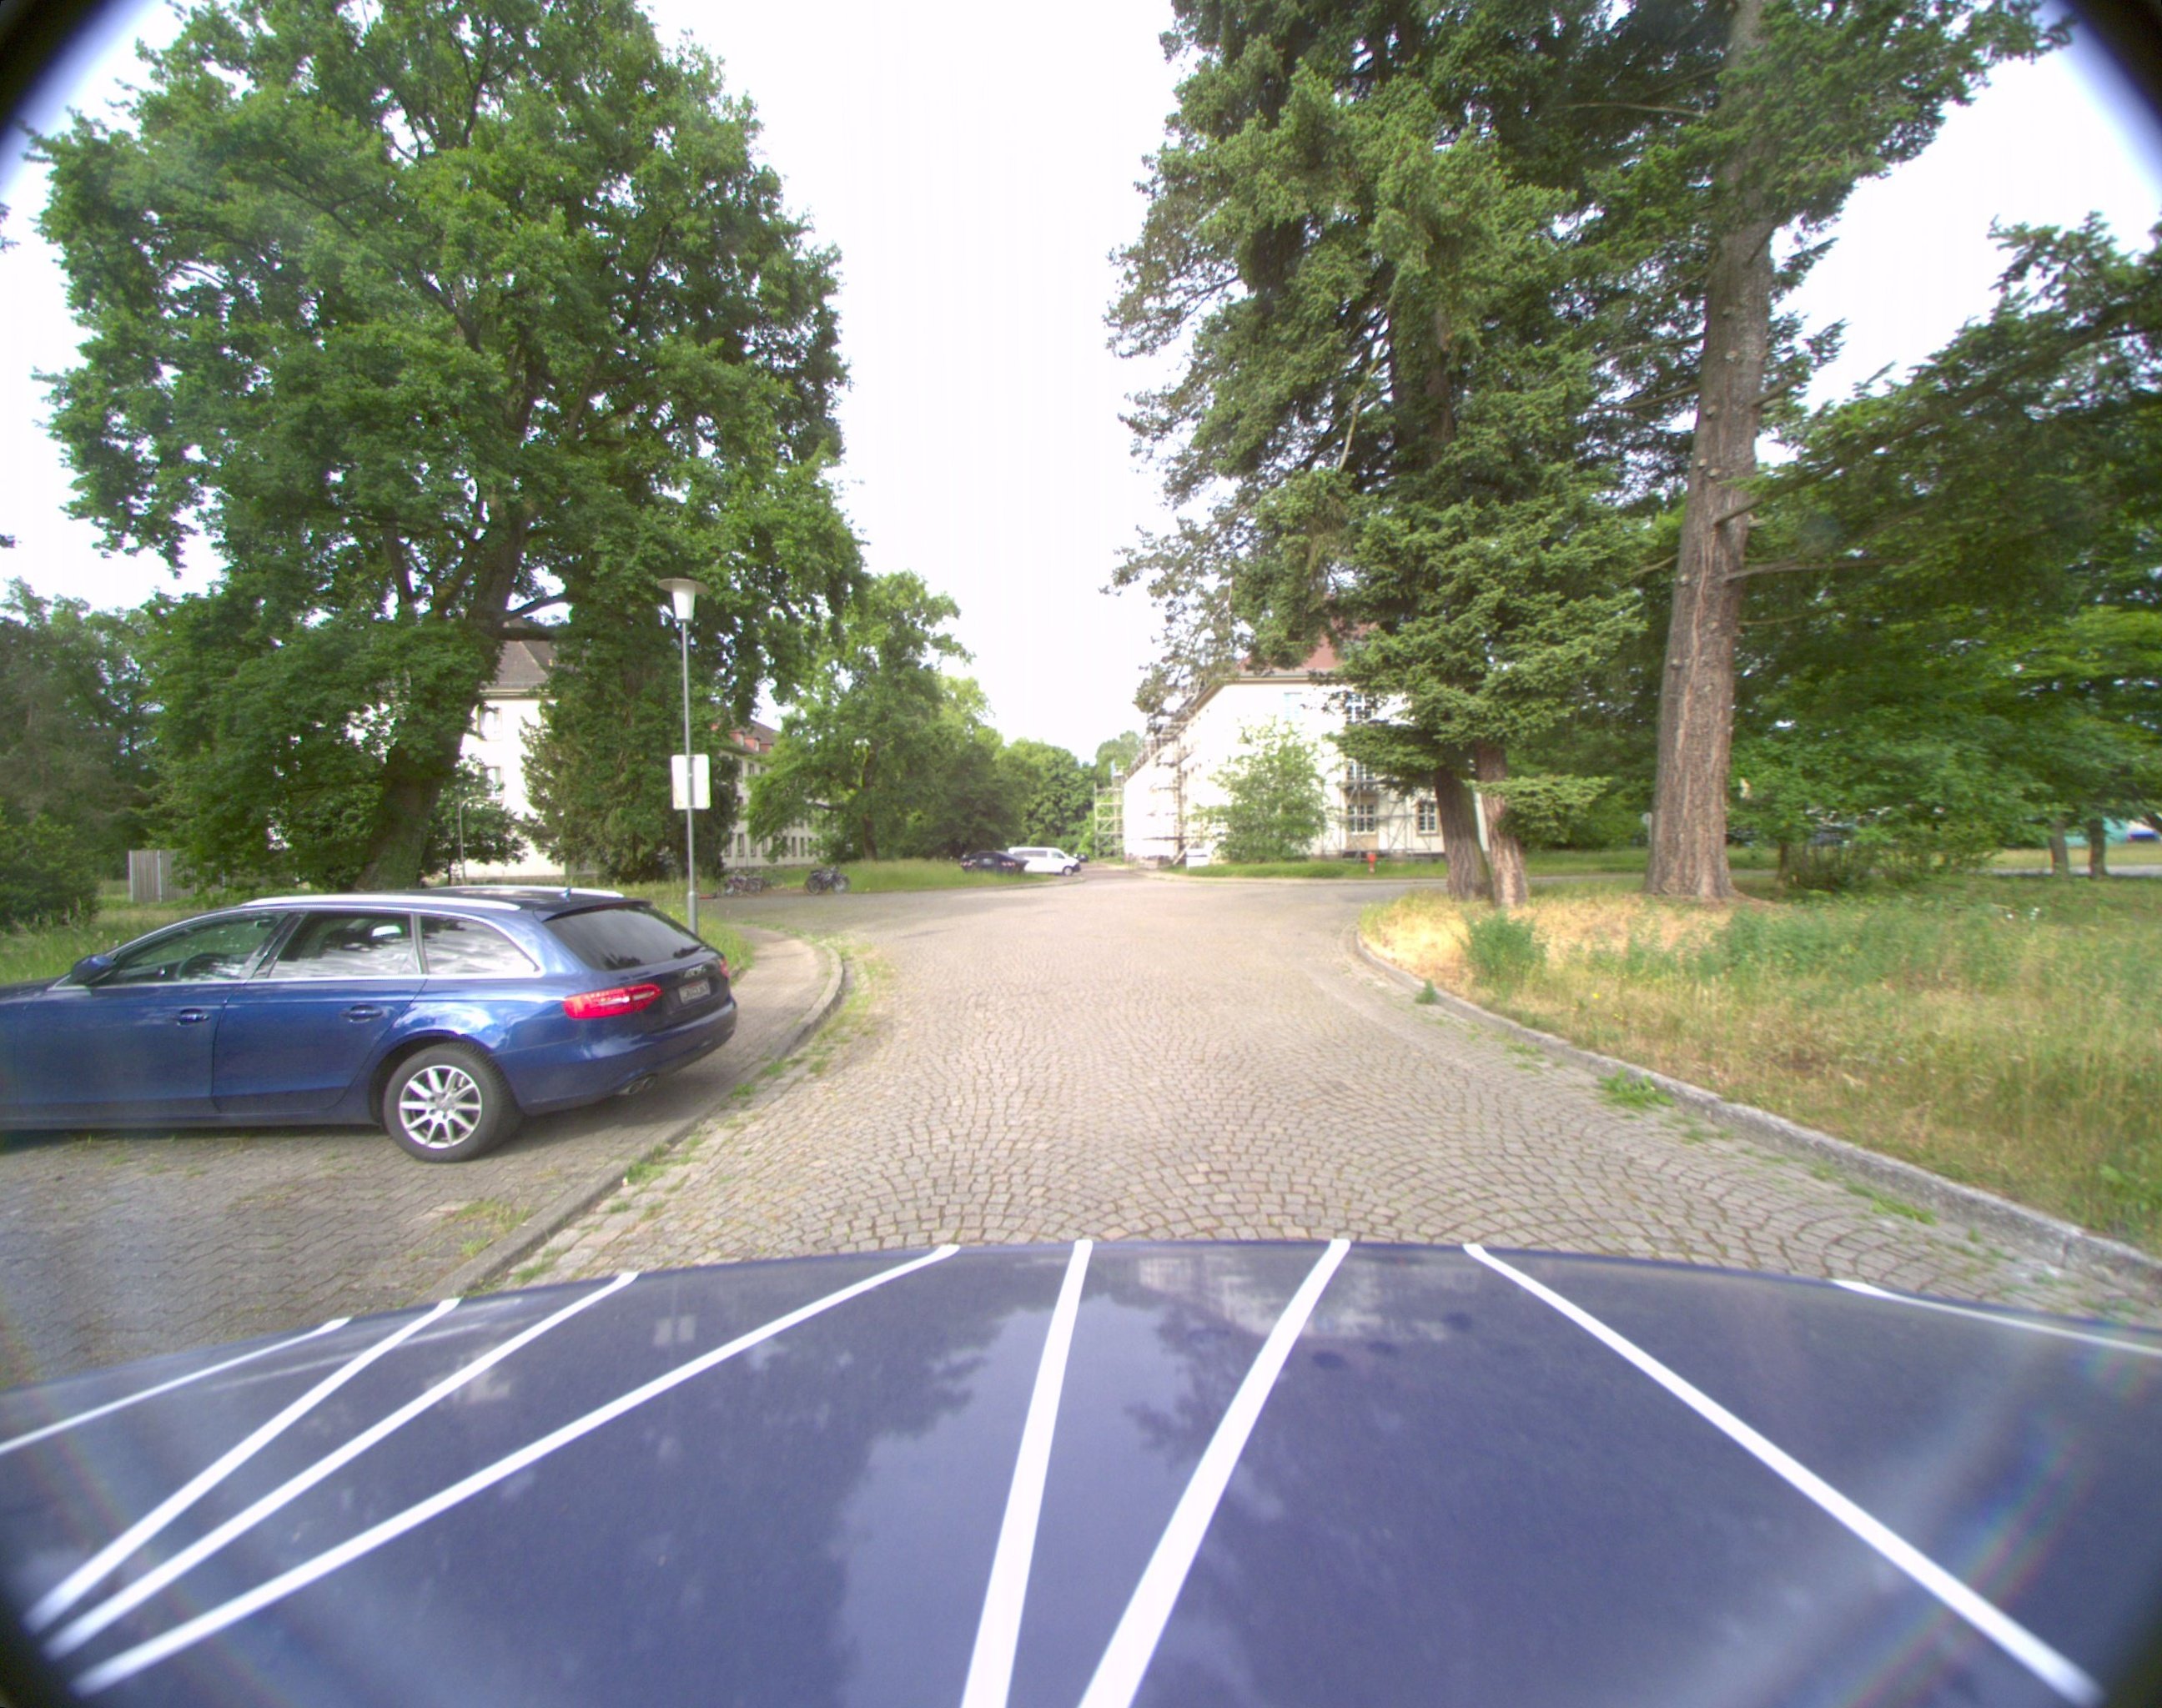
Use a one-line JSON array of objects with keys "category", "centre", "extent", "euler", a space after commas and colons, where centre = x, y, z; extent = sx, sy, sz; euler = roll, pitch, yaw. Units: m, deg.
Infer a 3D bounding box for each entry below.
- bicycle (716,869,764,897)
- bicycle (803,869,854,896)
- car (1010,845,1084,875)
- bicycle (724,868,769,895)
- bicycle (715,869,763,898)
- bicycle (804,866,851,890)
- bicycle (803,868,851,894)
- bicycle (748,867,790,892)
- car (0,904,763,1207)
[{"category": "bicycle", "centre": [-15.131, 1.277, 33.739], "extent": [1.860, 1.116, 0.620], "euler": [-3, 1, -25]}, {"category": "bicycle", "centre": [-10.987, 1.231, 33.082], "extent": [1.976, 1.070, 0.587], "euler": [-3, 1, -30]}, {"category": "car", "centre": [-2.437, 0.399, 53.747], "extent": [5.102, 2.007, 2.054], "euler": [0, 1, -4]}, {"category": "bicycle", "centre": [-15.559, 1.275, 35.381], "extent": [1.860, 1.116, 0.620], "euler": [-3, 1, -25]}, {"category": "bicycle", "centre": [-14.904, 1.275, 33.139], "extent": [1.860, 1.116, 0.620], "euler": [-3, 1, -25]}, {"category": "bicycle", "centre": [-12.236, 1.155, 36.715], "extent": [2.032, 1.070, 0.620], "euler": [-3, 1, -25]}, {"category": "bicycle", "centre": [-11.570, 1.202, 34.638], "extent": [1.976, 1.070, 0.587], "euler": [-3, 1, -30]}, {"category": "bicycle", "centre": [-15.449, 1.233, 37.607], "extent": [1.860, 1.116, 0.620], "euler": [-3, 1, -25]}, {"category": "car", "centre": [-4.627, 1.096, 4.775], "extent": [4.481, 1.413, 1.784], "euler": [0, 1, 1]}]
